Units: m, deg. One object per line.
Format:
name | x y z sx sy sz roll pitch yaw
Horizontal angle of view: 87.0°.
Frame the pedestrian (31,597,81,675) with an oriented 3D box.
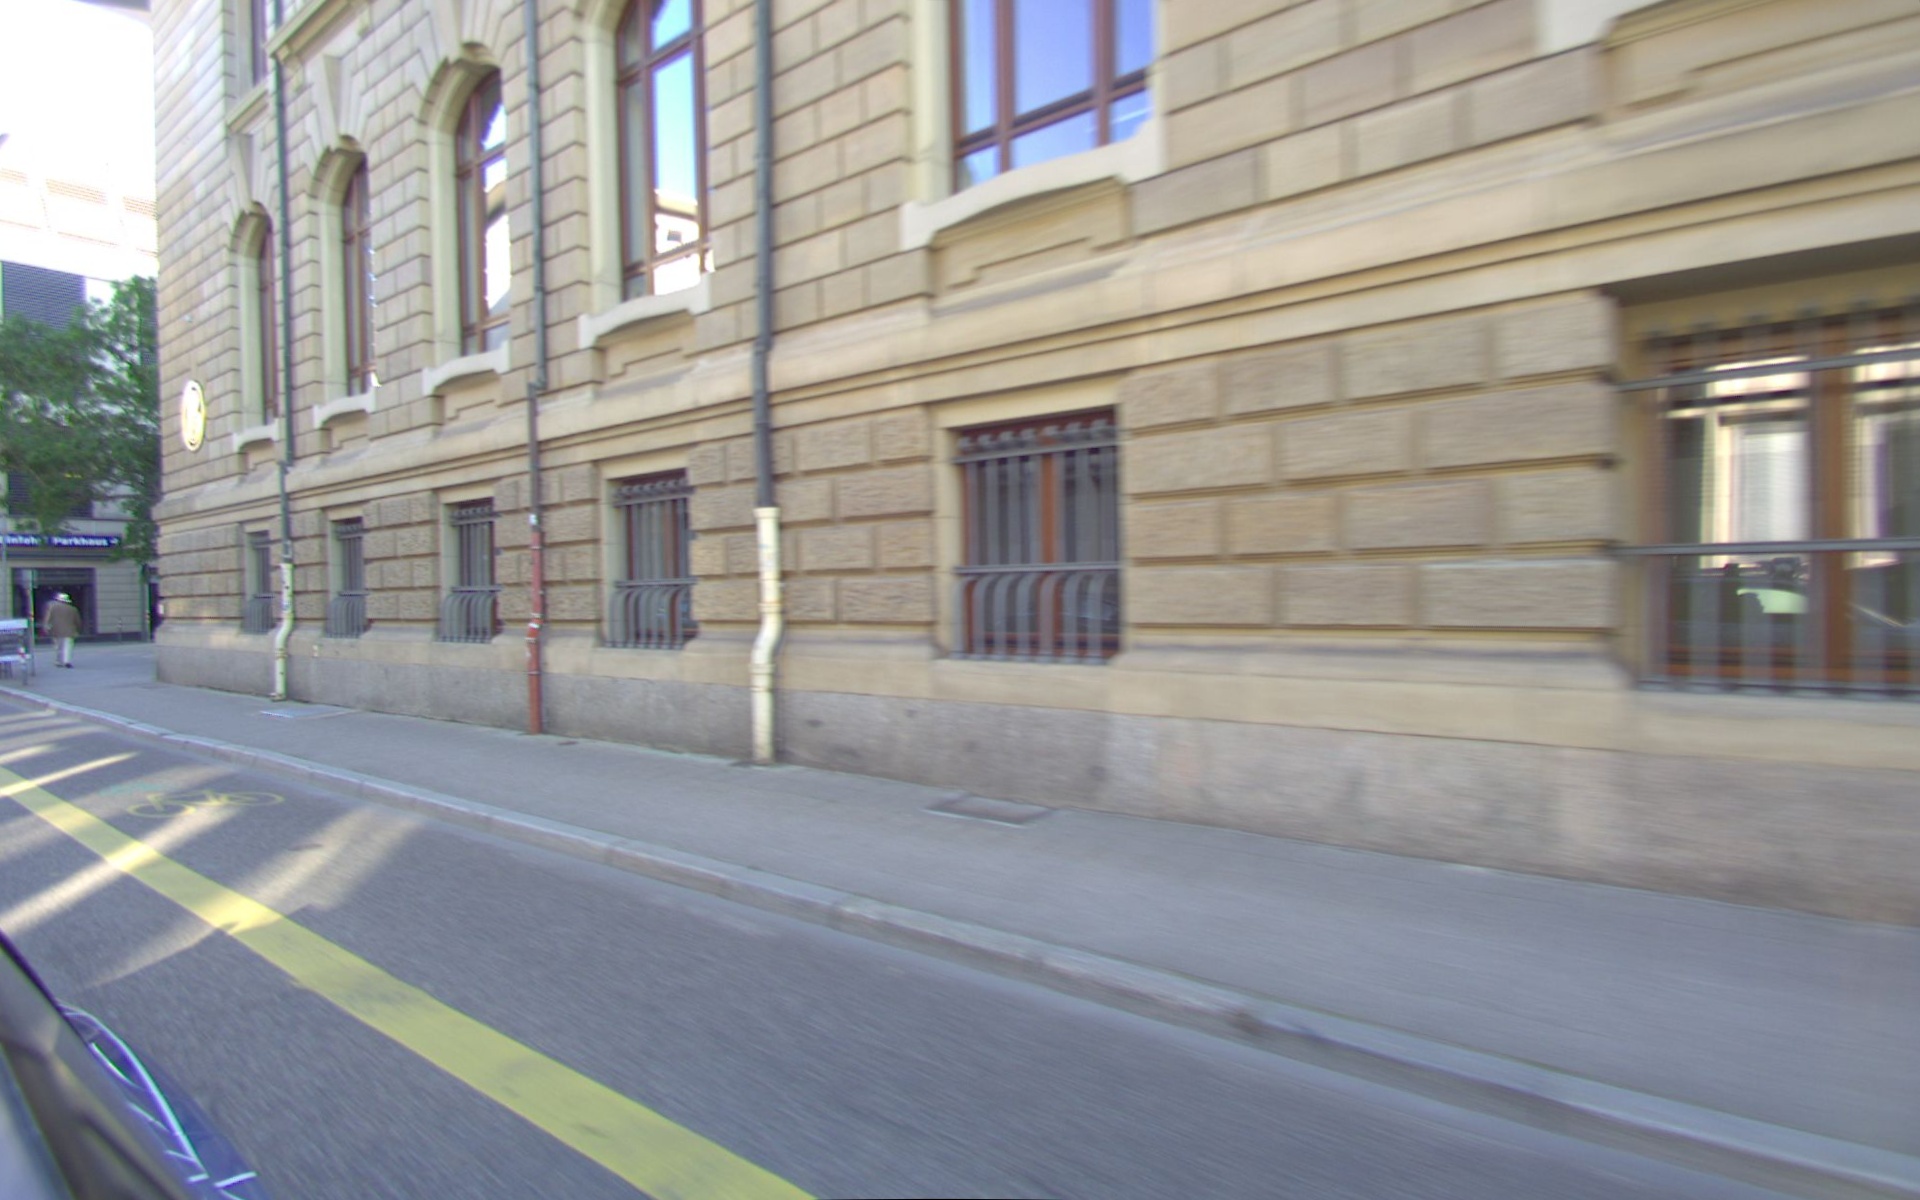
pedestrian | -21.330 0.837 23.881 0.622 1.793 0.755 -1 1 40
